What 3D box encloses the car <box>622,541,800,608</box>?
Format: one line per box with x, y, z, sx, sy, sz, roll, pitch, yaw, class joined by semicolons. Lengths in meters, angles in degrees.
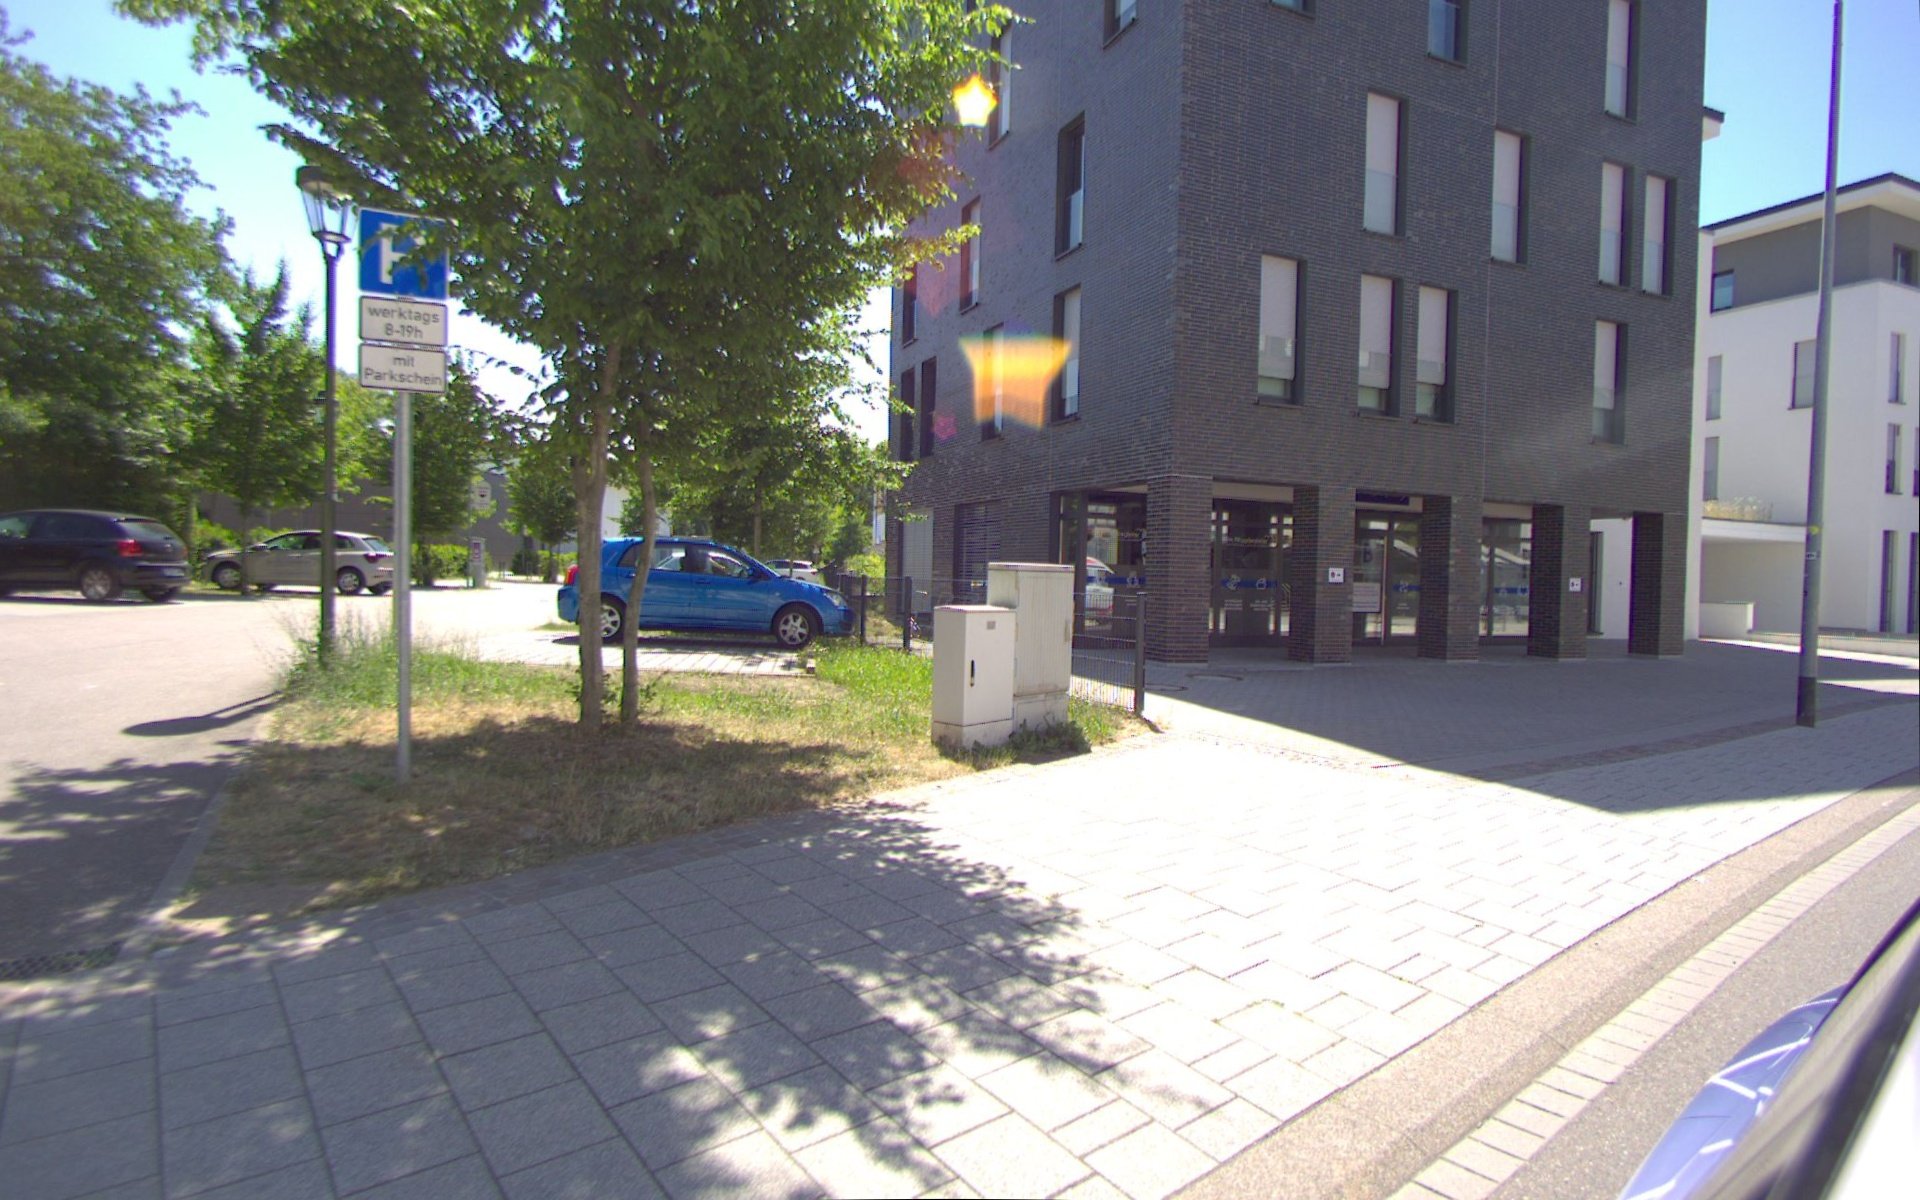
-6.103;-0.633;25.097;4.086;1.459;1.821;2;2;-11;car

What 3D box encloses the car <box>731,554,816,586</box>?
-9.467;-1.526;51.291;4.085;1.459;1.822;2;2;-15;car

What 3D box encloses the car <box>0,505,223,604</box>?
-14.720;-0.766;16.521;3.918;1.459;1.880;2;2;-7;car

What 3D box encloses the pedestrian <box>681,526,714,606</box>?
-6.136;-0.800;23.700;0.684;1.812;0.638;2;2;-14;pedestrian

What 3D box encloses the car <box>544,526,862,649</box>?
-3.570;-0.175;14.478;4.086;1.459;1.821;3;2;-11;car

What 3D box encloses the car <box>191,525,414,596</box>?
-15.183;-0.916;23.577;3.918;1.459;1.880;2;2;-9;car
